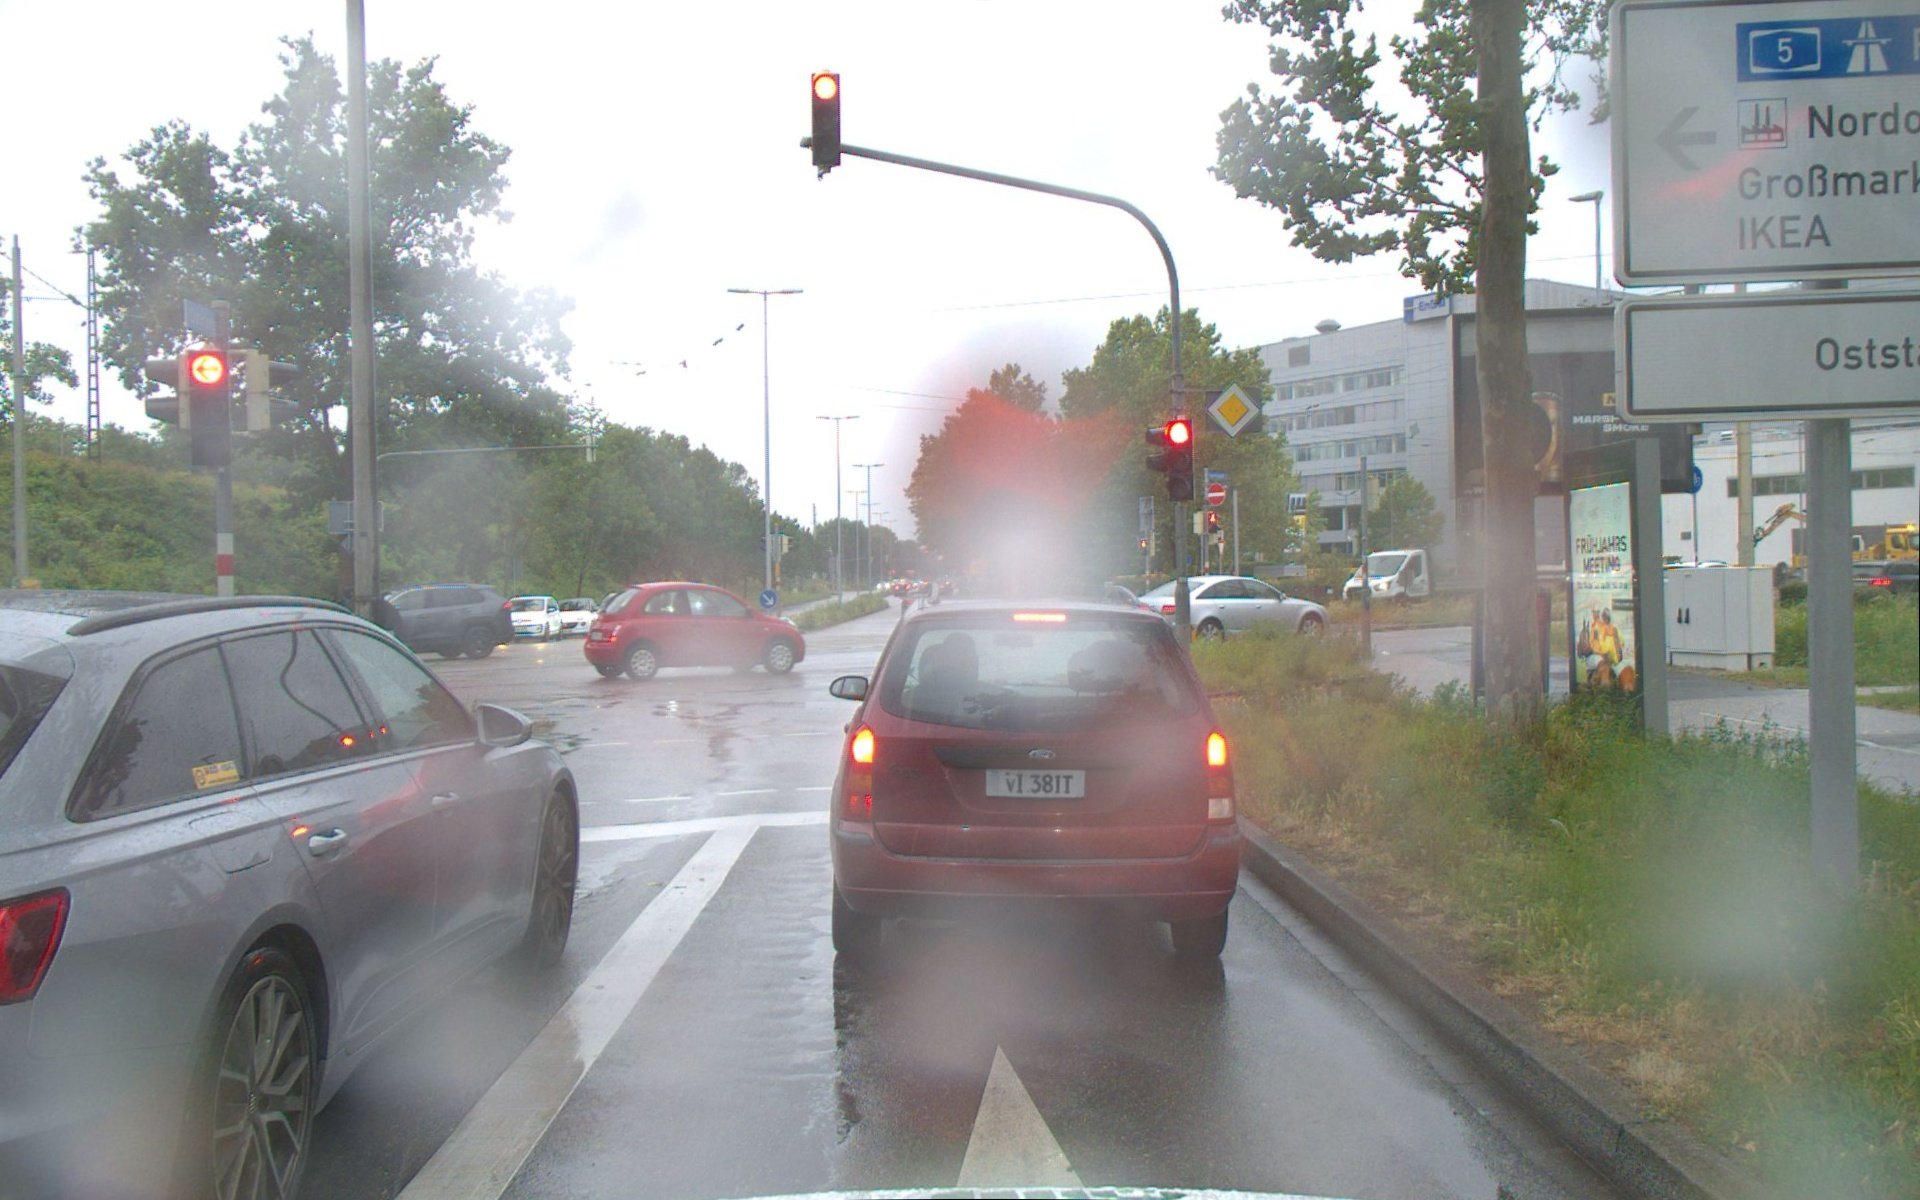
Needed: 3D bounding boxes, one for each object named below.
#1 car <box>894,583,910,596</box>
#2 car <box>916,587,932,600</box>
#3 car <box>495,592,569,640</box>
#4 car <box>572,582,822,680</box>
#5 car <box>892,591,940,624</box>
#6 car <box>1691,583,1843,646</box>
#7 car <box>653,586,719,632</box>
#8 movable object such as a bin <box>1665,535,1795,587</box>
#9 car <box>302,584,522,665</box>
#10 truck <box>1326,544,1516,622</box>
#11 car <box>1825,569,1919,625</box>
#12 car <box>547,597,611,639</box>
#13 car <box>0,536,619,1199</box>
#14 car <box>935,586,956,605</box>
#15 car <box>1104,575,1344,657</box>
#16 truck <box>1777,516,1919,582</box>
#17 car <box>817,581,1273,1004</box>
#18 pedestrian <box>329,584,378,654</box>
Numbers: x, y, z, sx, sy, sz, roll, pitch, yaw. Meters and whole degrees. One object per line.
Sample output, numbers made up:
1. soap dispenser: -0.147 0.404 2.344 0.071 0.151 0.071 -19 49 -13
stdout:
1. car: -7.061 -1.284 202.118 1.663 1.554 3.846 -1 0 1
2. car: -4.177 -0.760 192.469 1.663 1.554 3.846 -1 0 0
3. car: -14.172 0.489 54.887 1.605 1.478 3.785 -2 1 -3
4. car: -4.336 0.470 27.354 3.766 1.517 1.661 0 0 -31
5. car: -2.524 0.428 94.607 1.959 1.822 3.986 1 0 -14
6. car: 22.414 0.382 45.882 4.575 1.614 1.902 -1 0 -37
7. car: -11.785 0.347 71.508 2.024 1.851 5.539 -2 1 -2
8. movable object such as a bin: 48.338 -2.422 103.979 3.292 3.048 6.634 -2 0 -36
9. car: -11.793 0.495 35.707 4.202 1.586 1.723 -1 0 -38
10. truck: 15.224 -0.587 54.403 6.796 2.406 2.449 -1 0 -38
11. car: 28.050 -0.113 49.729 4.578 1.614 1.901 -1 0 -38
12. car: -14.074 0.630 61.215 1.558 1.428 3.822 -2 1 -2
13. car: -2.303 0.669 4.808 1.733 1.601 4.819 1 0 -2
14. car: -1.235 -0.406 142.819 1.636 1.554 3.846 -1 0 1
15. car: 5.392 0.294 33.579 4.769 1.517 1.905 -1 0 -33
16. truck: 52.791 -2.948 97.368 3.292 3.568 7.789 -2 0 -36
17. car: 0.251 0.674 7.769 1.609 1.490 3.731 1 0 -2
18. pedestrian: -16.660 0.504 45.437 1.083 1.879 1.127 -1 0 -13
